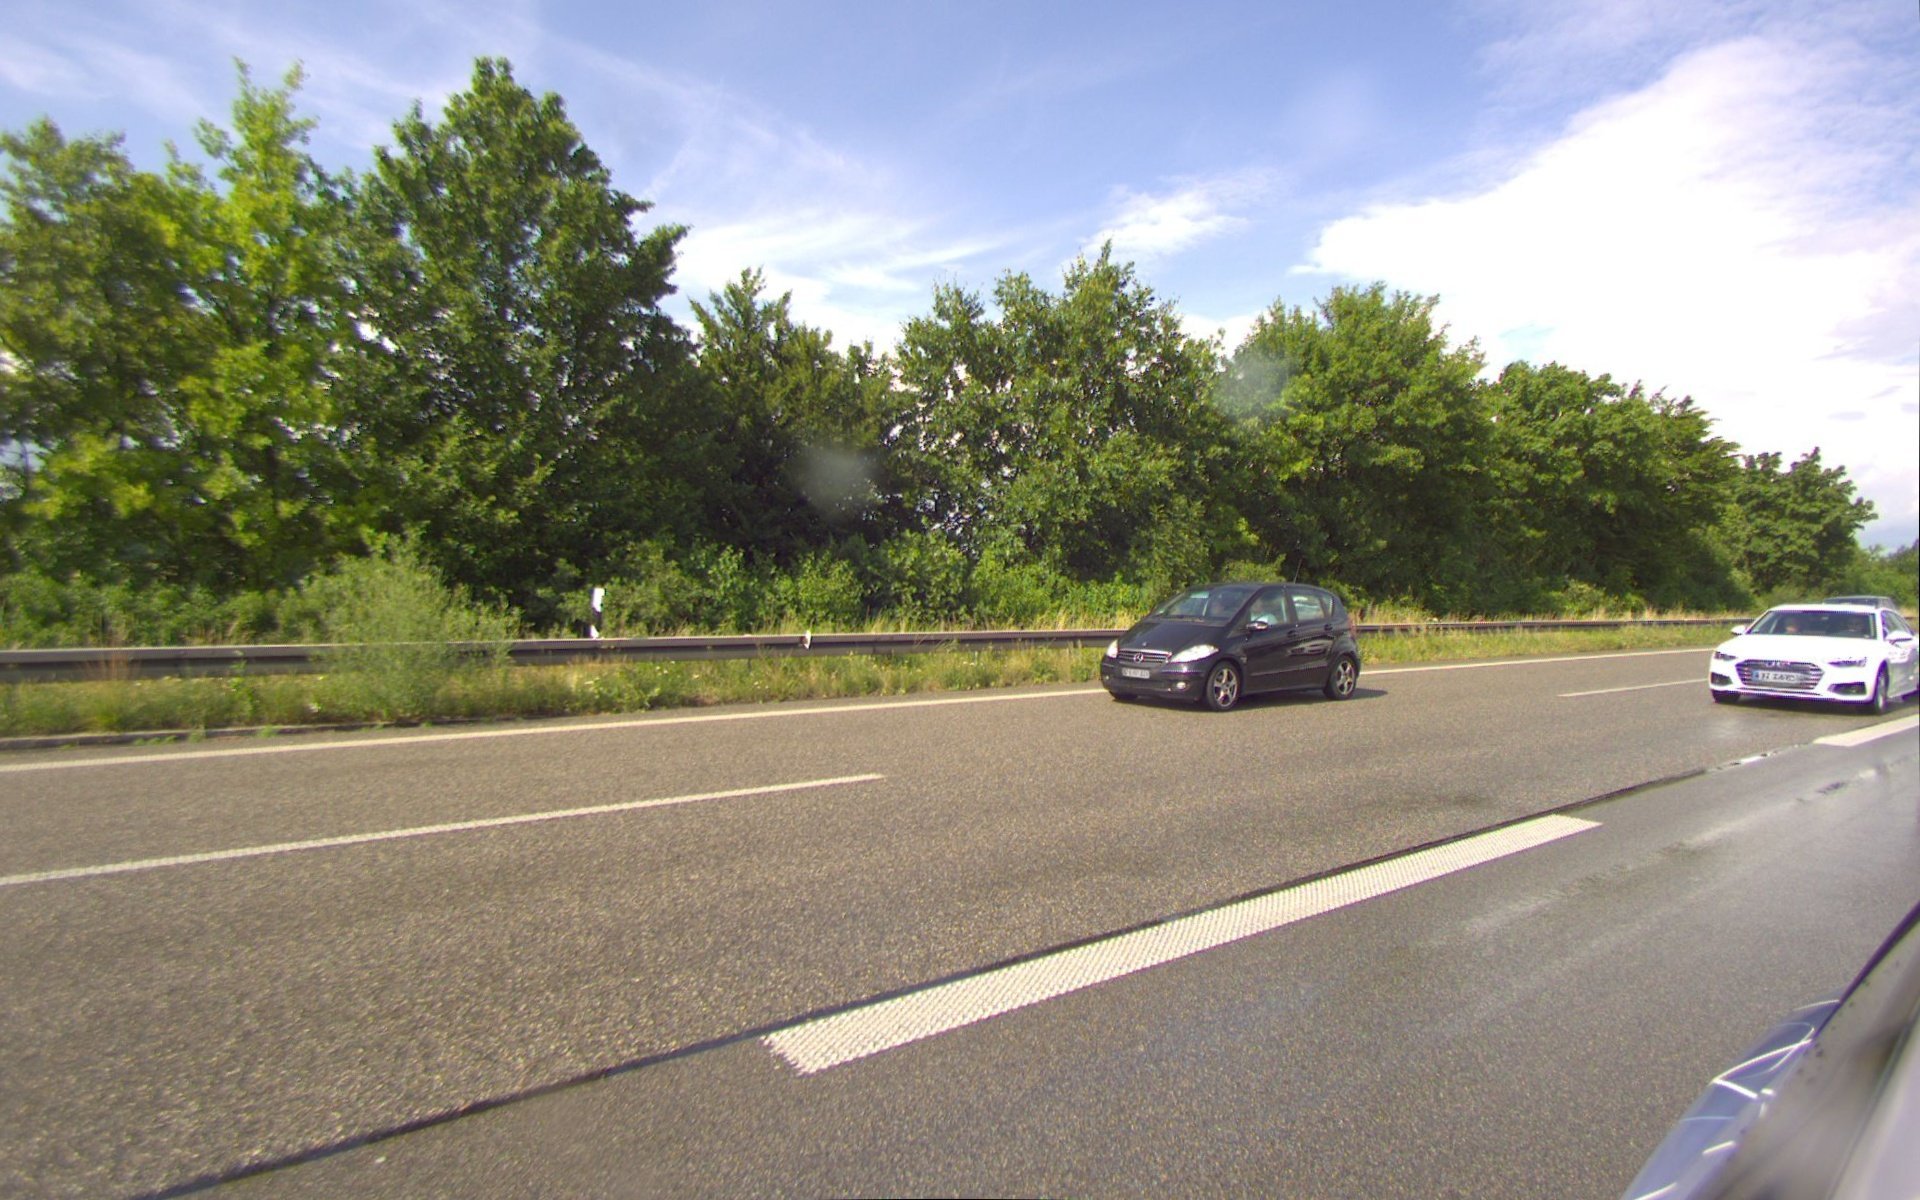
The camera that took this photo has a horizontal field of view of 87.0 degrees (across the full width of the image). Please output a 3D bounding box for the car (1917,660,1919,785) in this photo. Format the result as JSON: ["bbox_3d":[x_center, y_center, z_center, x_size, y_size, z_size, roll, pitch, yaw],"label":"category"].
[{"bbox_3d":[9.518,0.588,8.188,4.315,1.668,1.884,0,1,-37],"label":"car"}]

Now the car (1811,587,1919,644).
[{"bbox_3d":[27.826,0.434,30.963,4.283,1.641,1.826,0,0,-37],"label":"car"}]

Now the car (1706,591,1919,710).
[{"bbox_3d":[12.532,0.594,14.402,4.426,1.443,1.832,0,1,-36],"label":"car"}]

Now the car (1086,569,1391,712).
[{"bbox_3d":[3.739,0.422,13.338,3.926,1.588,1.854,0,2,-37],"label":"car"}]
